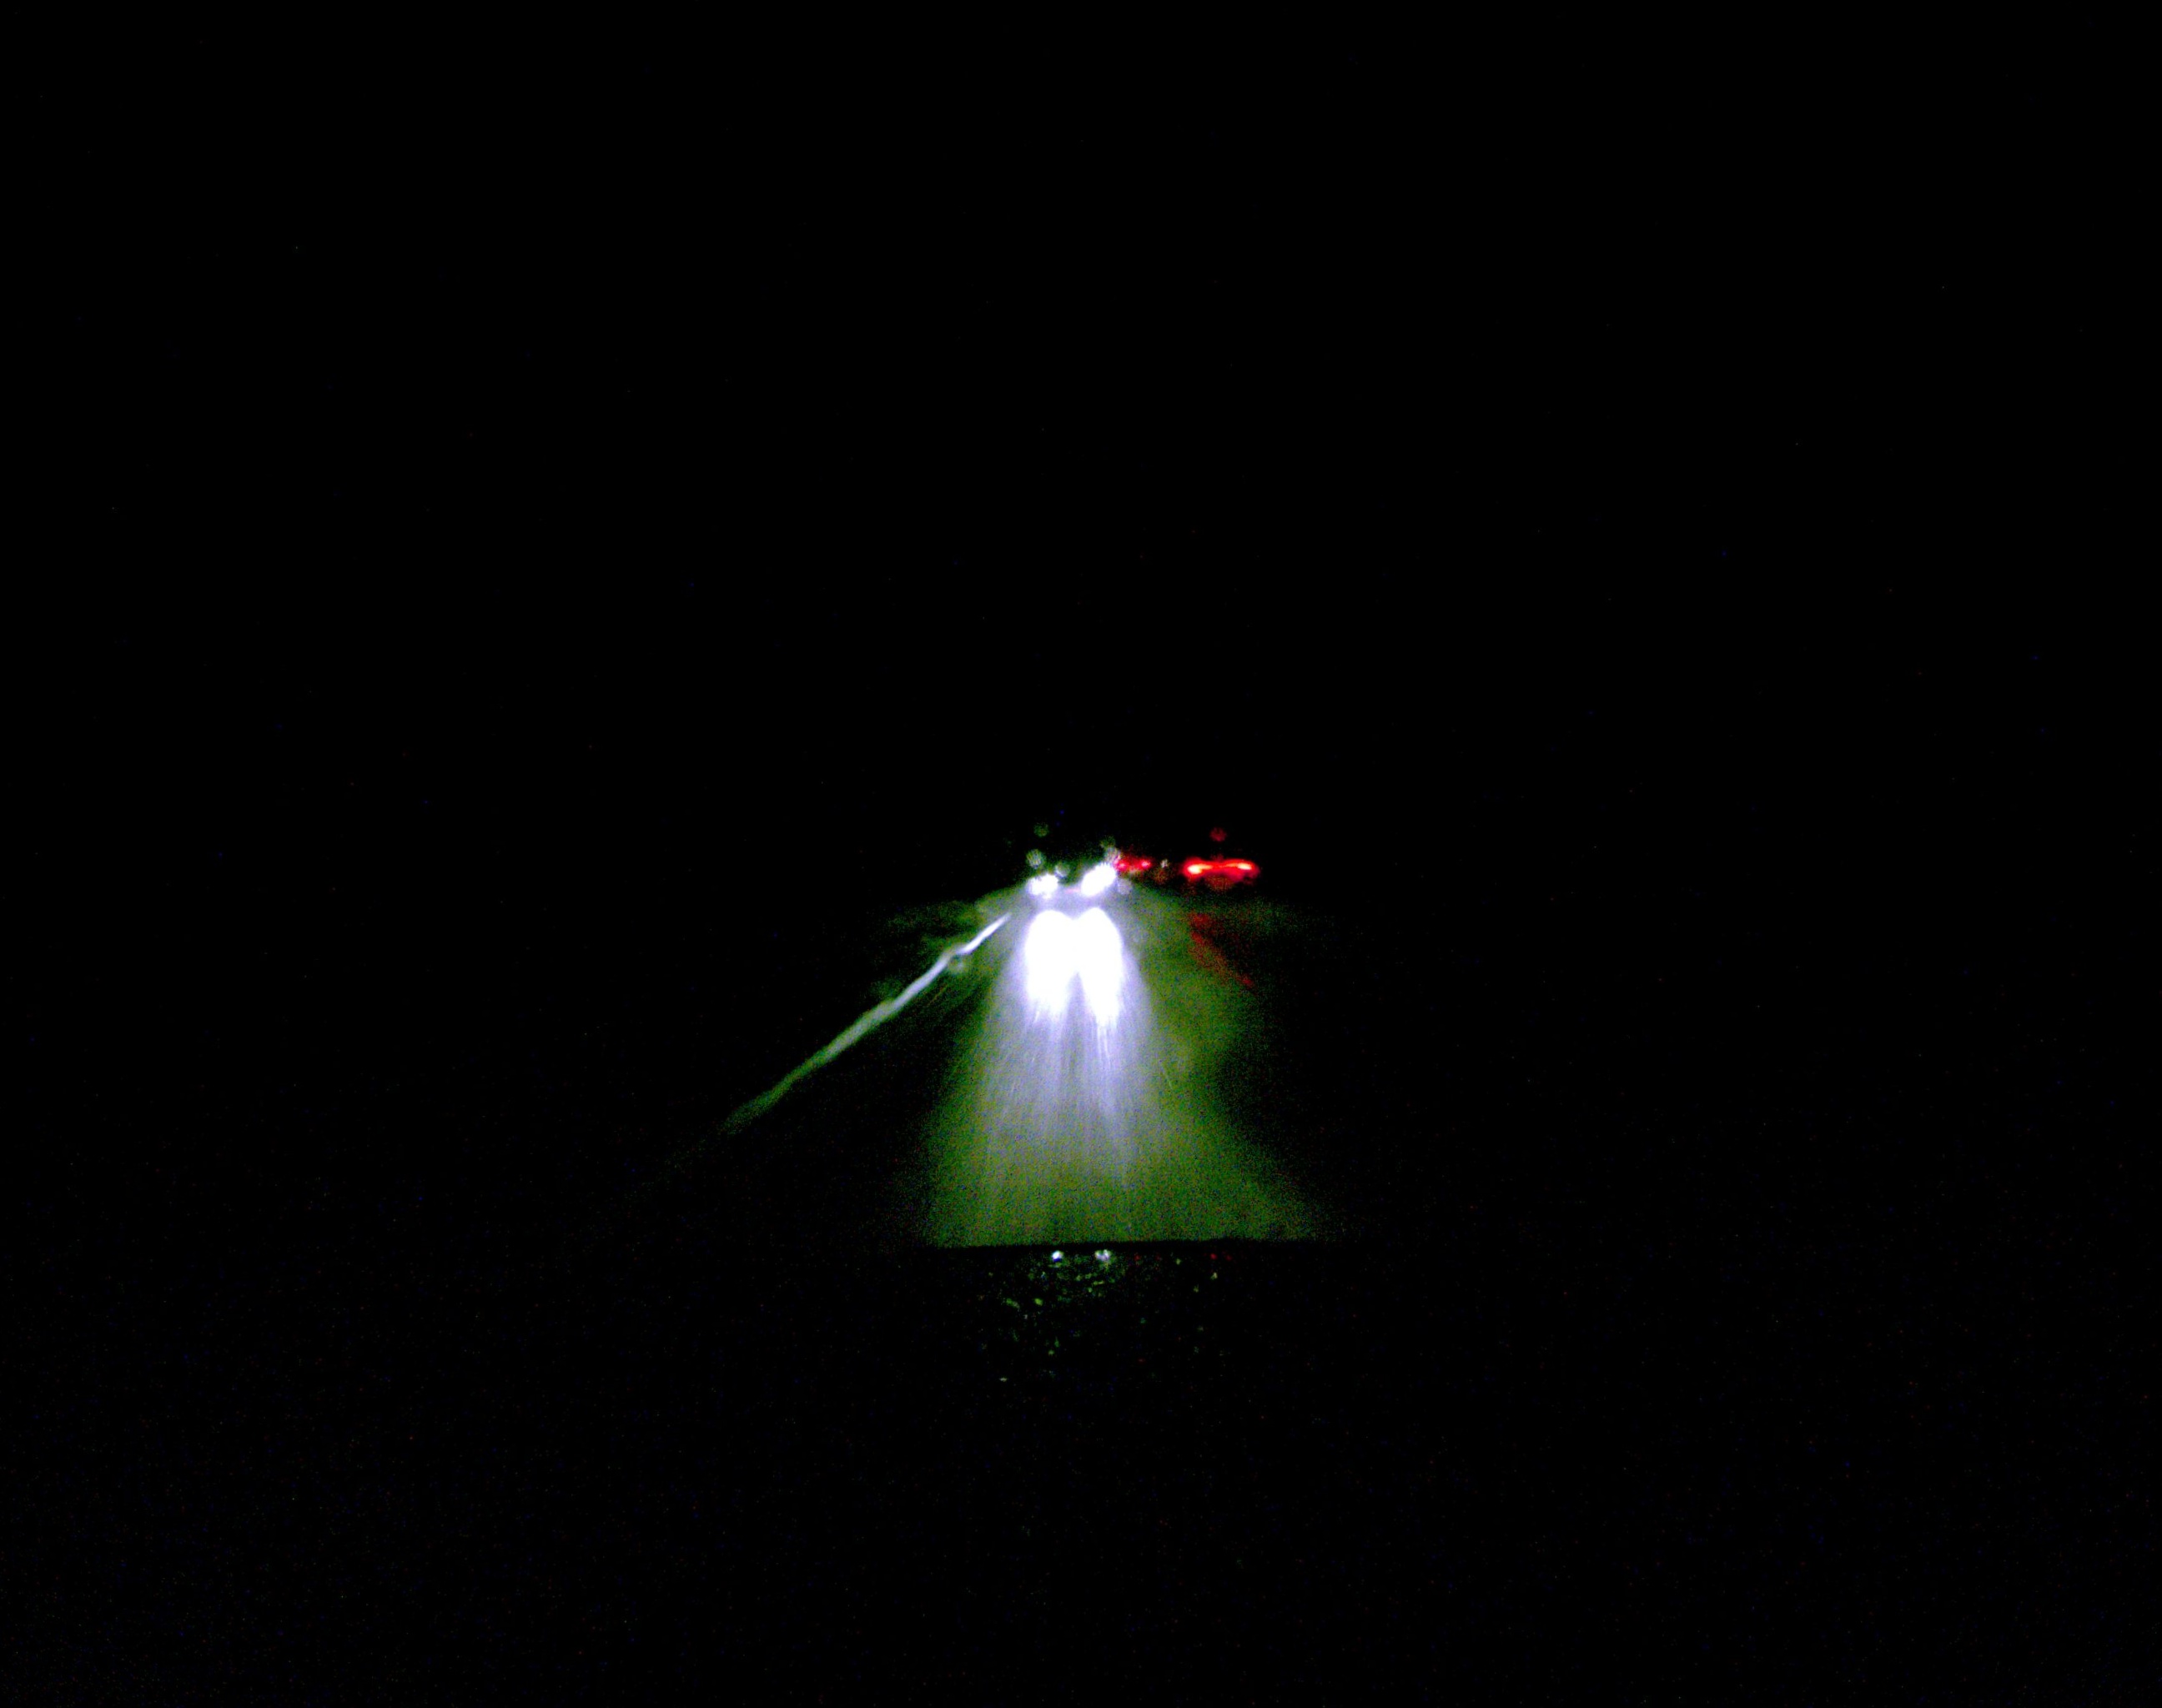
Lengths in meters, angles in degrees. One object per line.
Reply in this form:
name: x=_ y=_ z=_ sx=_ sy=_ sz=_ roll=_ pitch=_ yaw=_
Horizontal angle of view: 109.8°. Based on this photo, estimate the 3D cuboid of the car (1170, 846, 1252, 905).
car: x=3.890 y=0.611 z=23.427 sx=1.864 sy=1.628 sz=4.143 roll=-1 pitch=0 yaw=1

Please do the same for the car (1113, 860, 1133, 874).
car: x=4.672 y=1.419 z=84.495 sx=1.980 sy=1.507 sz=4.347 roll=-1 pitch=0 yaw=0

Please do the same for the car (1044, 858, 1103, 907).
car: x=-0.190 y=0.928 z=26.345 sx=1.744 sy=1.501 sz=3.601 roll=-3 pitch=0 yaw=3

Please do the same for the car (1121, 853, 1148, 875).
car: x=4.002 y=0.738 z=57.350 sx=1.790 sy=1.501 sz=3.600 roll=-2 pitch=0 yaw=0
